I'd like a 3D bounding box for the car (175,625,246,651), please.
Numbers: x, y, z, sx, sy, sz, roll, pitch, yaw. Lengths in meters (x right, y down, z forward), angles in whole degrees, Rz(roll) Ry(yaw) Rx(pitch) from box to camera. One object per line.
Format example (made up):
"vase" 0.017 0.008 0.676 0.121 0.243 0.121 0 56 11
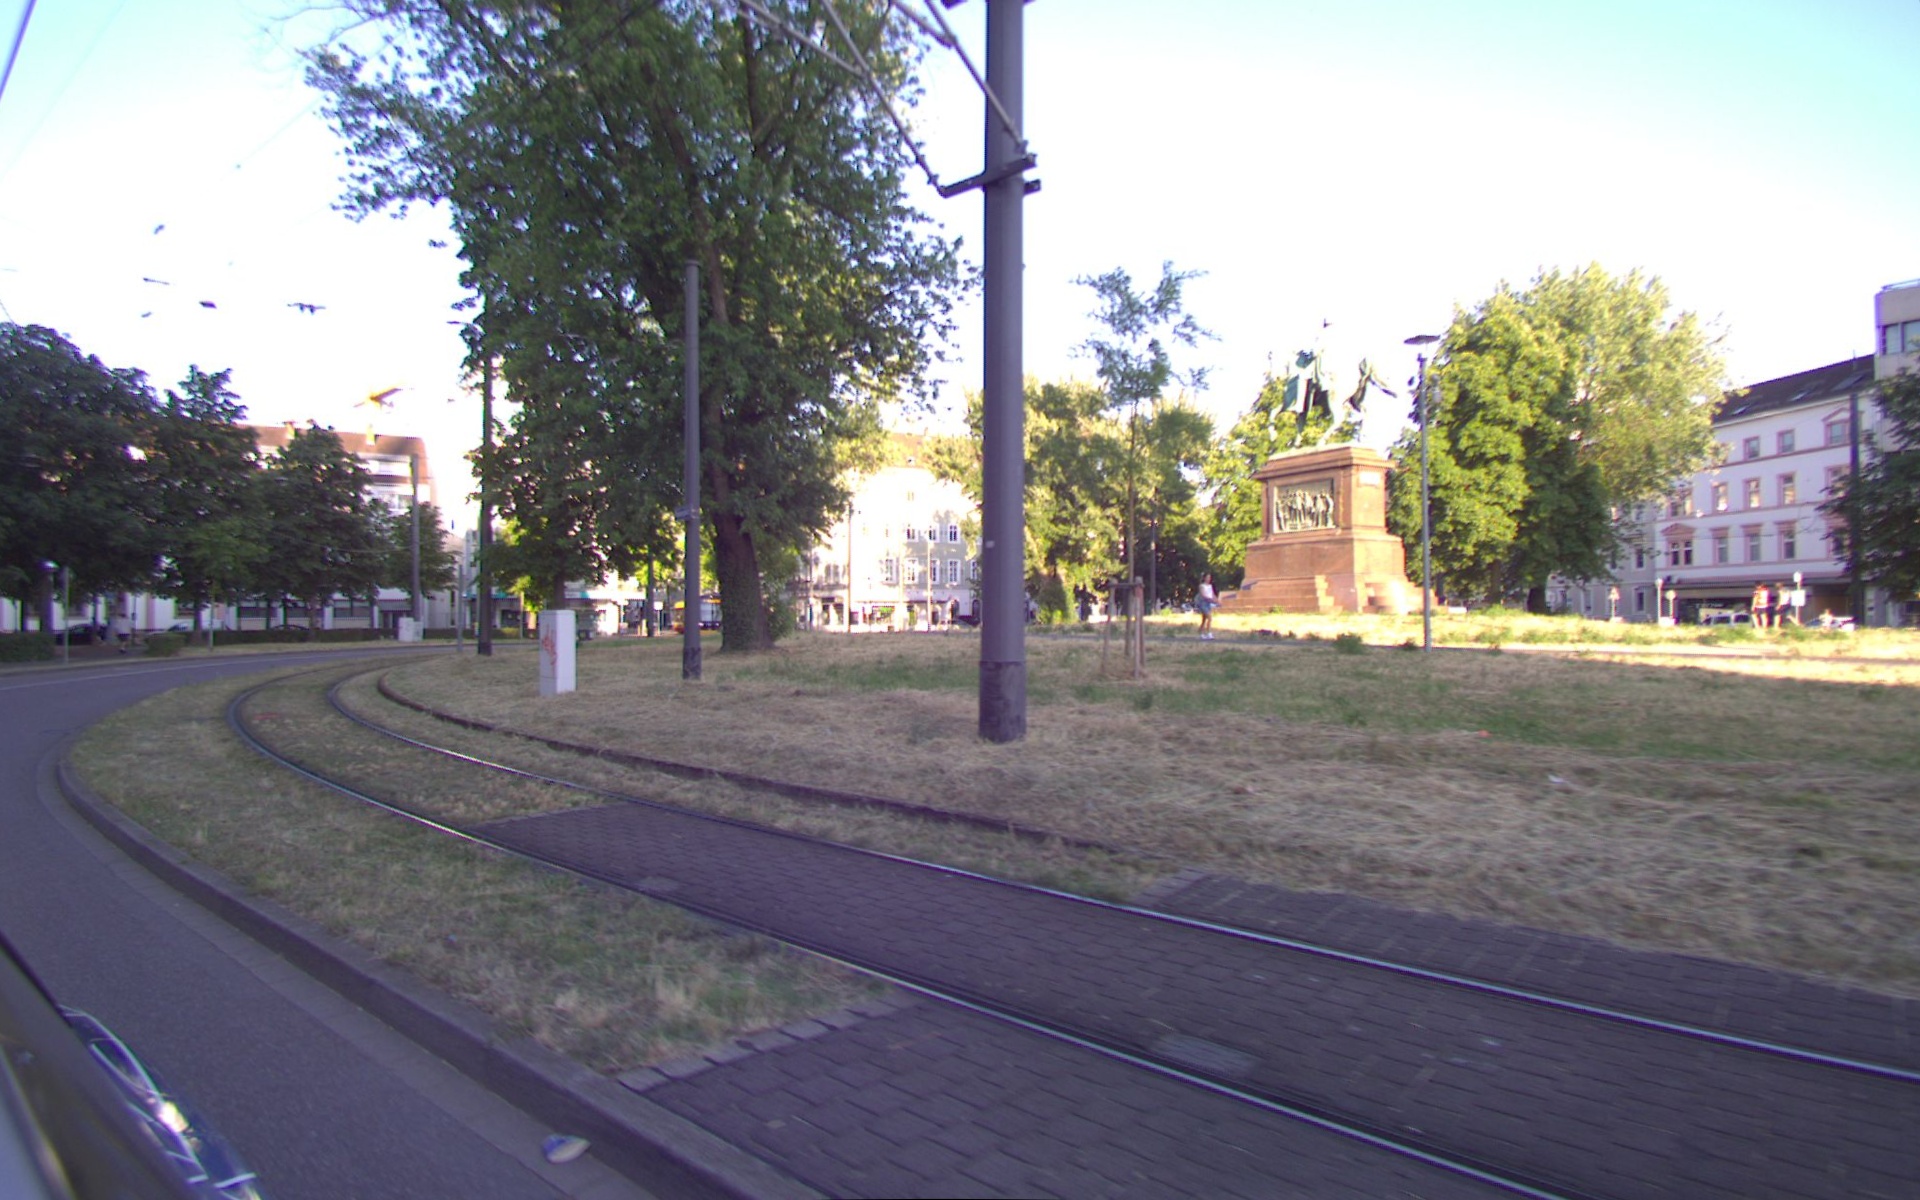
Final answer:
"car" -53.833 2.728 72.751 3.945 1.738 1.706 0 -3 -30

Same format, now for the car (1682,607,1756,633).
"car" 52.843 1.423 70.517 1.732 1.676 4.006 -1 -2 -8

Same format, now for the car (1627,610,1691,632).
"car" 52.404 1.609 75.933 1.770 1.592 4.003 -1 -2 -4

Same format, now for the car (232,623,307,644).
"car" -48.264 2.320 70.852 4.249 1.421 1.811 1 0 -32

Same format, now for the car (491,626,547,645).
"car" -36.335 2.939 83.399 3.932 1.461 1.853 0 -2 -32

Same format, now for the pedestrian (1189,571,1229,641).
"pedestrian" 6.246 0.160 25.388 0.469 1.703 0.836 1 -3 -45

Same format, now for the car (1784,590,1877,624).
"car" 53.665 0.448 62.498 1.732 1.959 4.216 -1 -2 -8

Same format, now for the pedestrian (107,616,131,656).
"pedestrian" -36.637 1.580 44.103 0.757 1.729 0.787 1 -3 -41

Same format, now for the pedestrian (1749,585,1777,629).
"pedestrian" 27.917 0.248 35.190 0.446 1.524 0.555 0 -3 -29

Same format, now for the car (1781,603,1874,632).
"car" 50.928 1.053 59.549 1.770 1.592 4.003 -1 -2 -4

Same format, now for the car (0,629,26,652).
"car" -61.265 2.553 62.959 4.321 1.430 1.732 1 -3 -32

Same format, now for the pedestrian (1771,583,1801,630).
"pedestrian" 28.697 0.225 35.158 0.609 1.593 0.555 0 -3 -29

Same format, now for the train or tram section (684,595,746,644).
"train or tram section" -19.663 1.534 82.092 2.905 3.611 13.382 -1 -1 -5

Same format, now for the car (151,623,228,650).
"car" -52.146 2.464 68.567 3.945 1.738 1.706 1 -3 -32

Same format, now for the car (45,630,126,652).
"car" -56.732 2.649 65.736 3.719 1.346 1.732 1 -3 -32
